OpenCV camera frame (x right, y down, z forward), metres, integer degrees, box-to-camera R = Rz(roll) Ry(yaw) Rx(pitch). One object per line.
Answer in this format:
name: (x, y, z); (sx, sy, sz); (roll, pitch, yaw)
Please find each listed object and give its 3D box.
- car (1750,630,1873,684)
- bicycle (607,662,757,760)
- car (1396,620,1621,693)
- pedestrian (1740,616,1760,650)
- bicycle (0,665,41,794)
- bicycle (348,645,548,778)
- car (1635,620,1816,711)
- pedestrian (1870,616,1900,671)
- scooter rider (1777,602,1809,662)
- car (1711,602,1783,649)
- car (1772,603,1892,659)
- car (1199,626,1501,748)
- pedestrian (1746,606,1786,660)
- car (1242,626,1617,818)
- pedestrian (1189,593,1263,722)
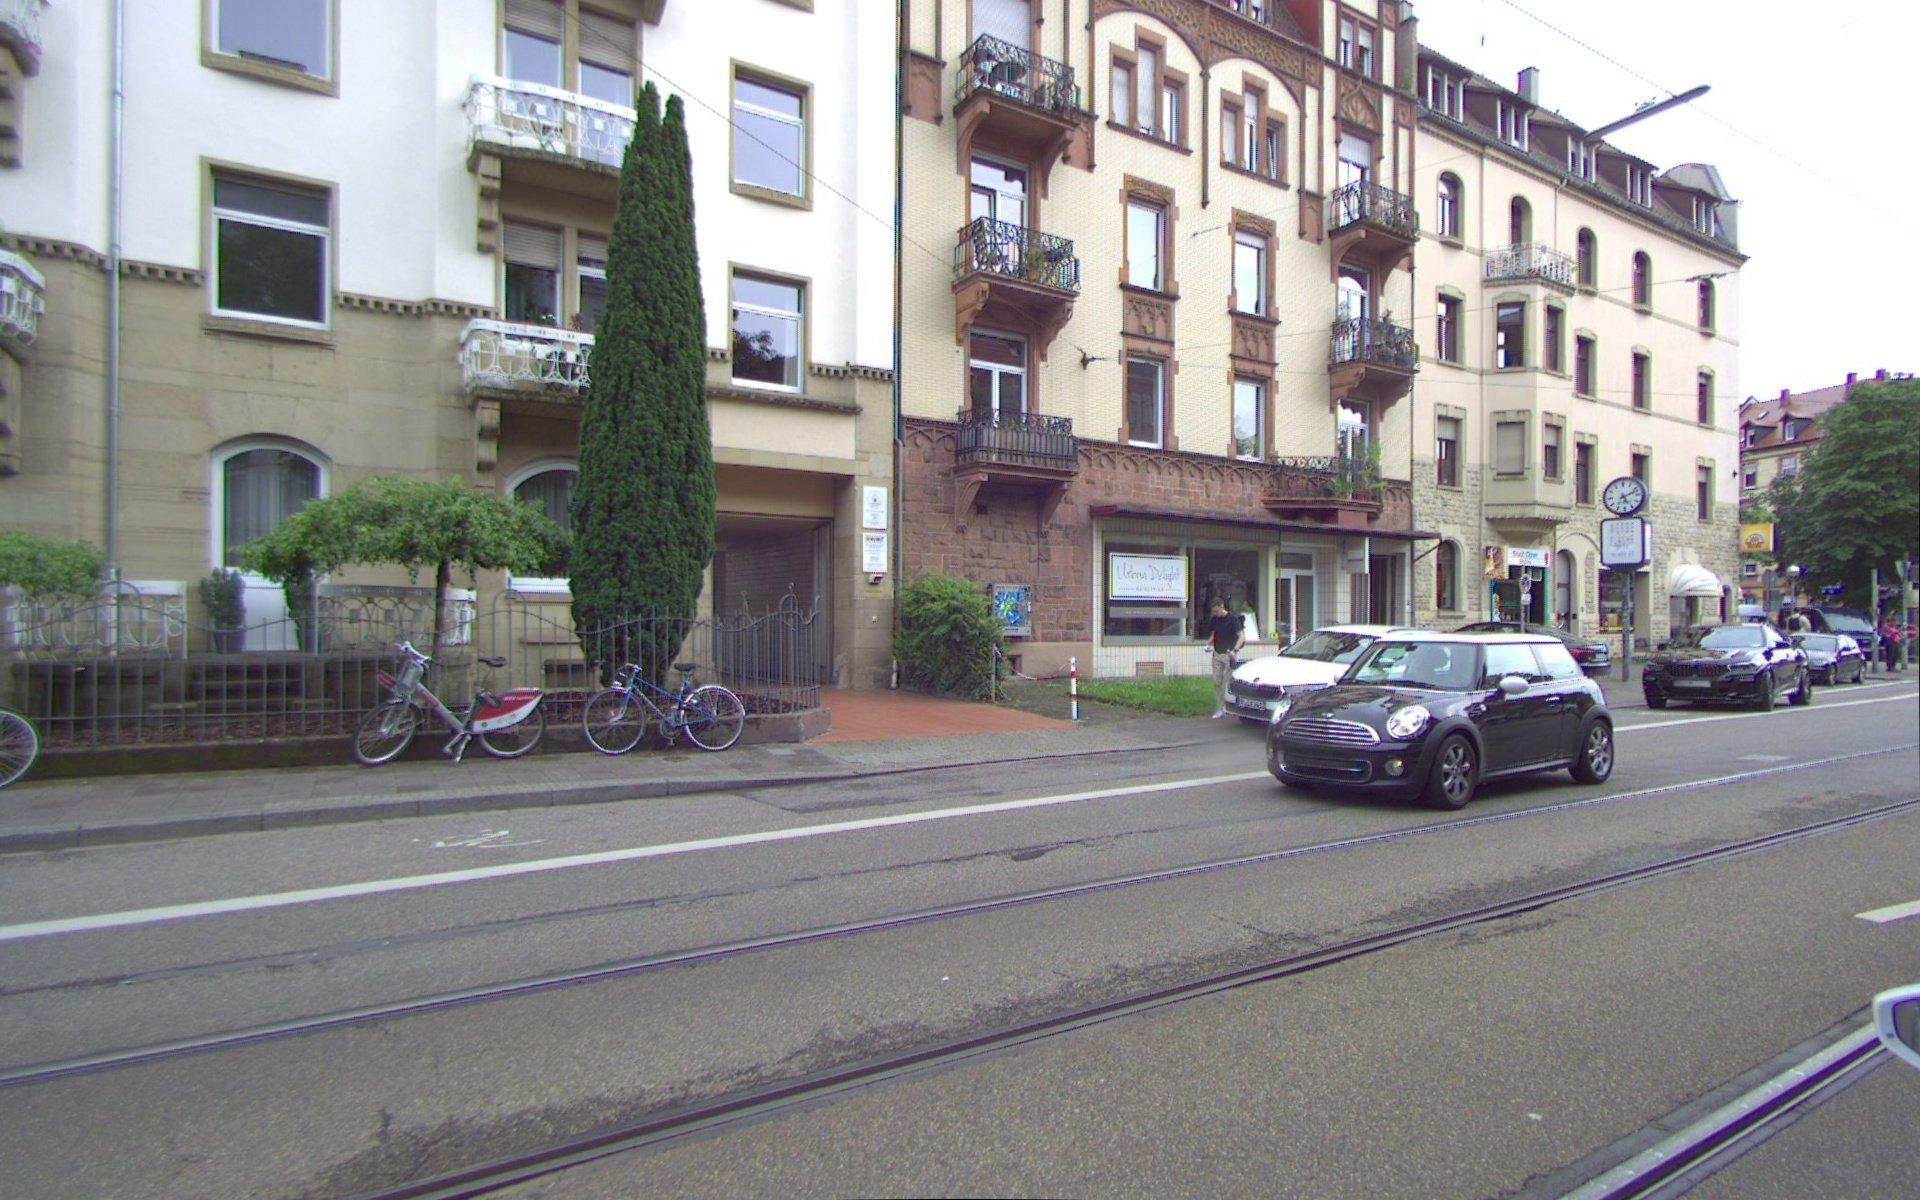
car: (24.584, 1.591, 28.957); (4.086, 1.380, 1.638); (1, 1, -34)
bicycle: (-2.925, 1.148, 10.637); (1.498, 0.950, 0.330); (1, -1, -32)
car: (13.145, 1.279, 24.324); (1.862, 1.389, 4.395); (1, 1, -35)
pedestrian: (41.023, 1.697, 52.168); (0.686, 1.738, 0.552); (0, -1, 19)
bicycle: (-8.095, 1.020, 7.550); (1.641, 0.938, 0.357); (0, -19, -30)
bicycle: (-4.731, 0.996, 9.358); (1.613, 1.116, 0.381); (1, -1, -43)
car: (15.566, 1.286, 20.333); (4.848, 1.632, 1.868); (2, -4, -40)
pedestrian: (31.606, 1.477, 34.333); (0.603, 1.867, 0.619); (1, -1, -33)
scooter rider: (28.621, 1.105, 34.507); (0.749, 2.040, 0.638); (1, -1, -33)
car: (44.409, 1.420, 56.826); (2.145, 2.561, 5.374); (0, -1, 27)
car: (40.426, 1.398, 46.767); (2.142, 2.449, 5.382); (0, -1, 16)
car: (5.693, 1.137, 14.480); (4.559, 1.504, 1.737); (1, -1, -33)
pedestrian: (31.438, 1.283, 39.172); (0.826, 2.040, 0.969); (1, -1, -31)
car: (4.367, 0.972, 9.228); (3.451, 1.441, 1.598); (1, -2, -35)
pedestrian: (4.003, 0.849, 15.123); (0.872, 1.868, 0.664); (1, -1, -33)
